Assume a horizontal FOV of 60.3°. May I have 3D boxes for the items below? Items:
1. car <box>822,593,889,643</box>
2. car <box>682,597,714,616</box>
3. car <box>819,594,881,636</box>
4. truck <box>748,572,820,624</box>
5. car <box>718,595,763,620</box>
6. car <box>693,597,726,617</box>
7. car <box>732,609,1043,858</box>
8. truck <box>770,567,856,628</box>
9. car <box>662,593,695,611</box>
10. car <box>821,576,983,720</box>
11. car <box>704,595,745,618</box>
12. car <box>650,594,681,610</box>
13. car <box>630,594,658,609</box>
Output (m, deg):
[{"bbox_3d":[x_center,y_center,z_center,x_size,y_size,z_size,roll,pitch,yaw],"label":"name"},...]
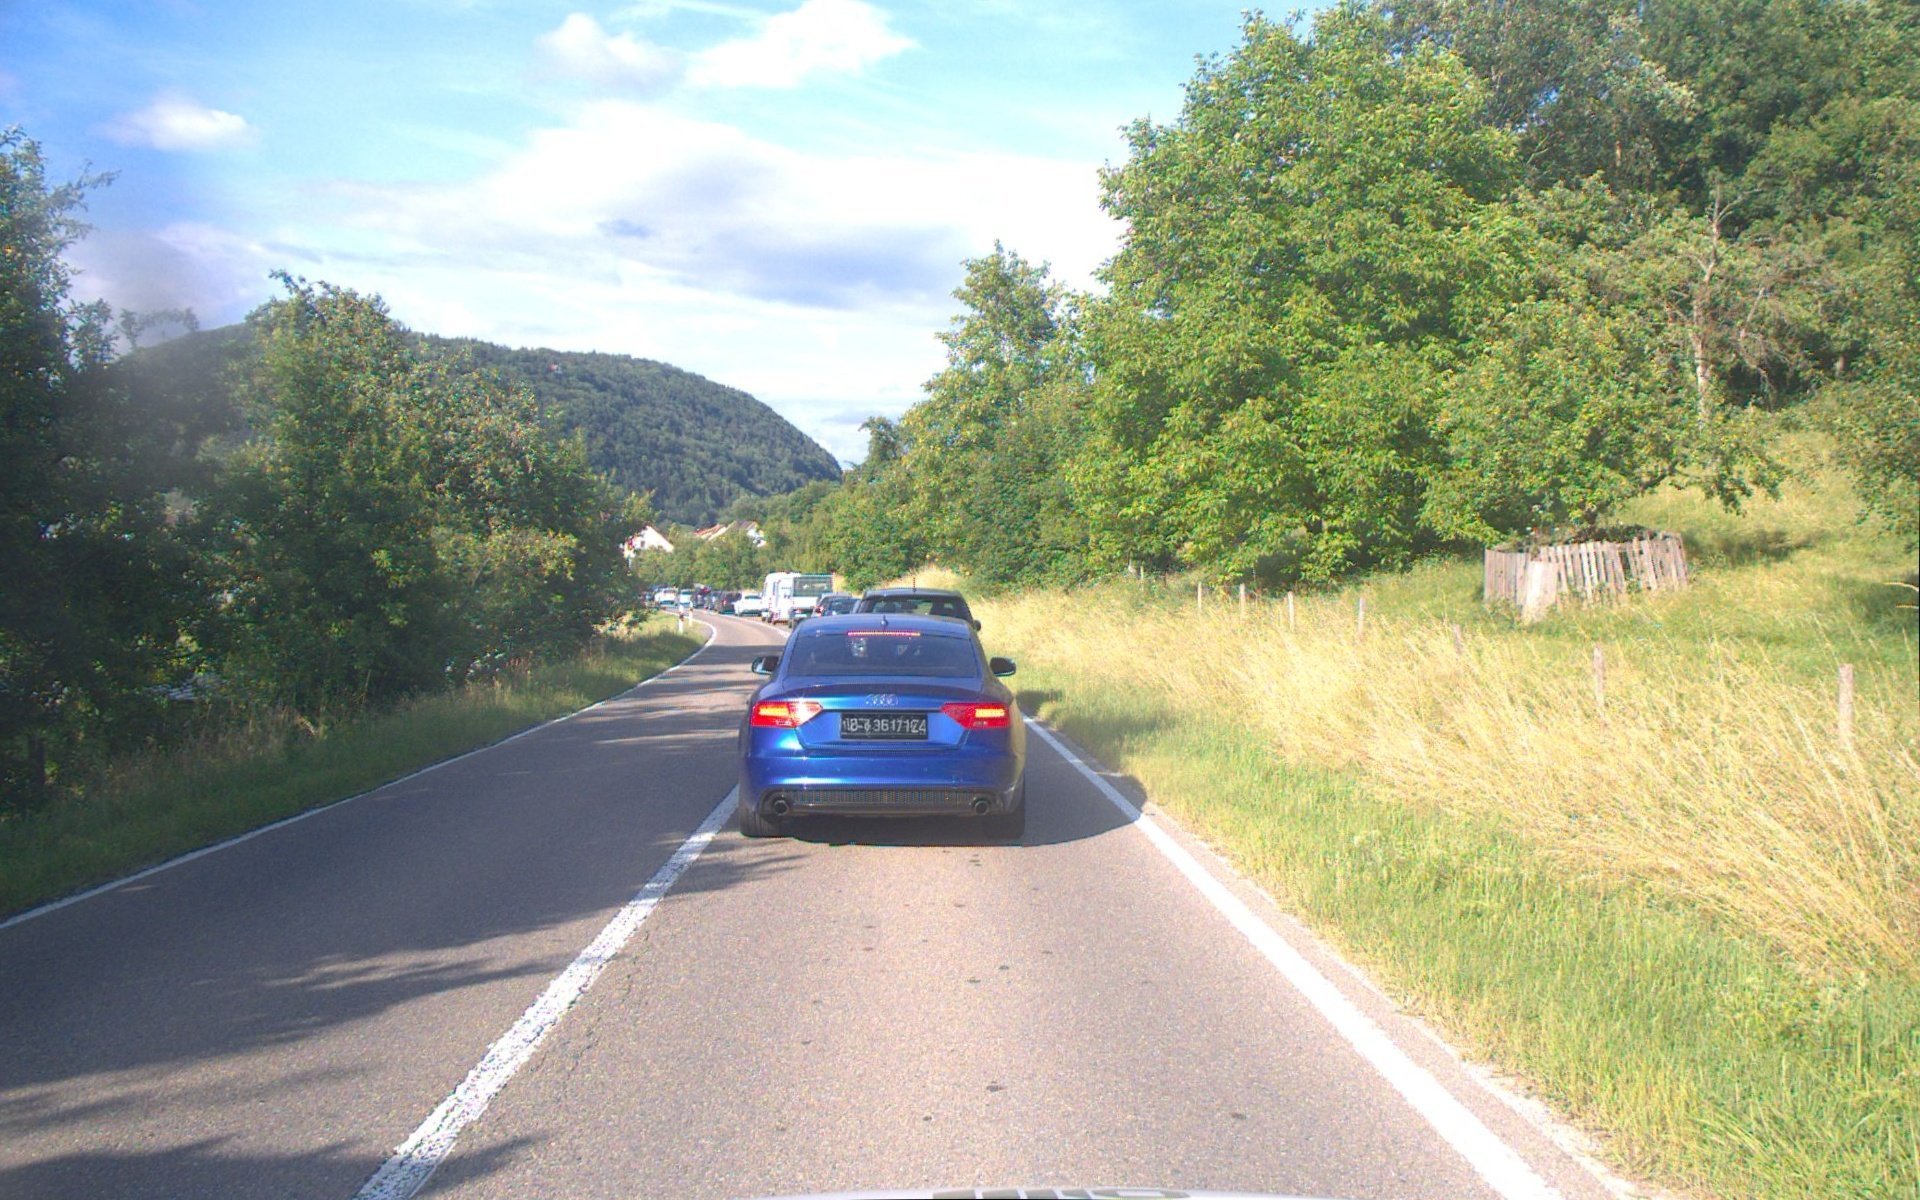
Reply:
[{"bbox_3d":[-3.253,0.563,52.017,1.953,1.508,3.998,1,0,-2],"label":"car"},{"bbox_3d":[-21.357,0.509,134.806,1.963,1.508,3.979,1,0,-18],"label":"car"},{"bbox_3d":[-4.165,0.555,61.945,1.957,1.508,3.991,1,0,-9],"label":"car"},{"bbox_3d":[-9.851,-0.109,91.518,2.814,2.712,10.611,1,0,-12],"label":"truck"},{"bbox_3d":[-14.160,0.477,106.657,1.966,1.508,3.973,1,0,-22],"label":"car"},{"bbox_3d":[-19.509,0.512,128.678,1.963,1.508,3.979,1,0,-18],"label":"car"},{"bbox_3d":[-0.440,0.764,11.365,1.757,1.383,3.999,0,0,-1],"label":"car"},{"bbox_3d":[-7.167,-0.113,79.223,2.814,2.712,10.360,1,0,-12],"label":"truck"},{"bbox_3d":[-24.491,0.178,143.737,1.967,1.508,3.970,1,0,-24],"label":"car"},{"bbox_3d":[-0.771,0.596,22.148,1.953,1.732,3.998,1,0,-2],"label":"car"},{"bbox_3d":[-16.247,0.459,113.958,1.966,1.508,3.973,1,0,-22],"label":"car"},{"bbox_3d":[-27.680,0.176,155.198,1.967,1.508,3.970,1,0,-24],"label":"car"},{"bbox_3d":[-32.106,0.171,168.112,1.967,1.508,3.970,1,0,-24],"label":"car"}]
